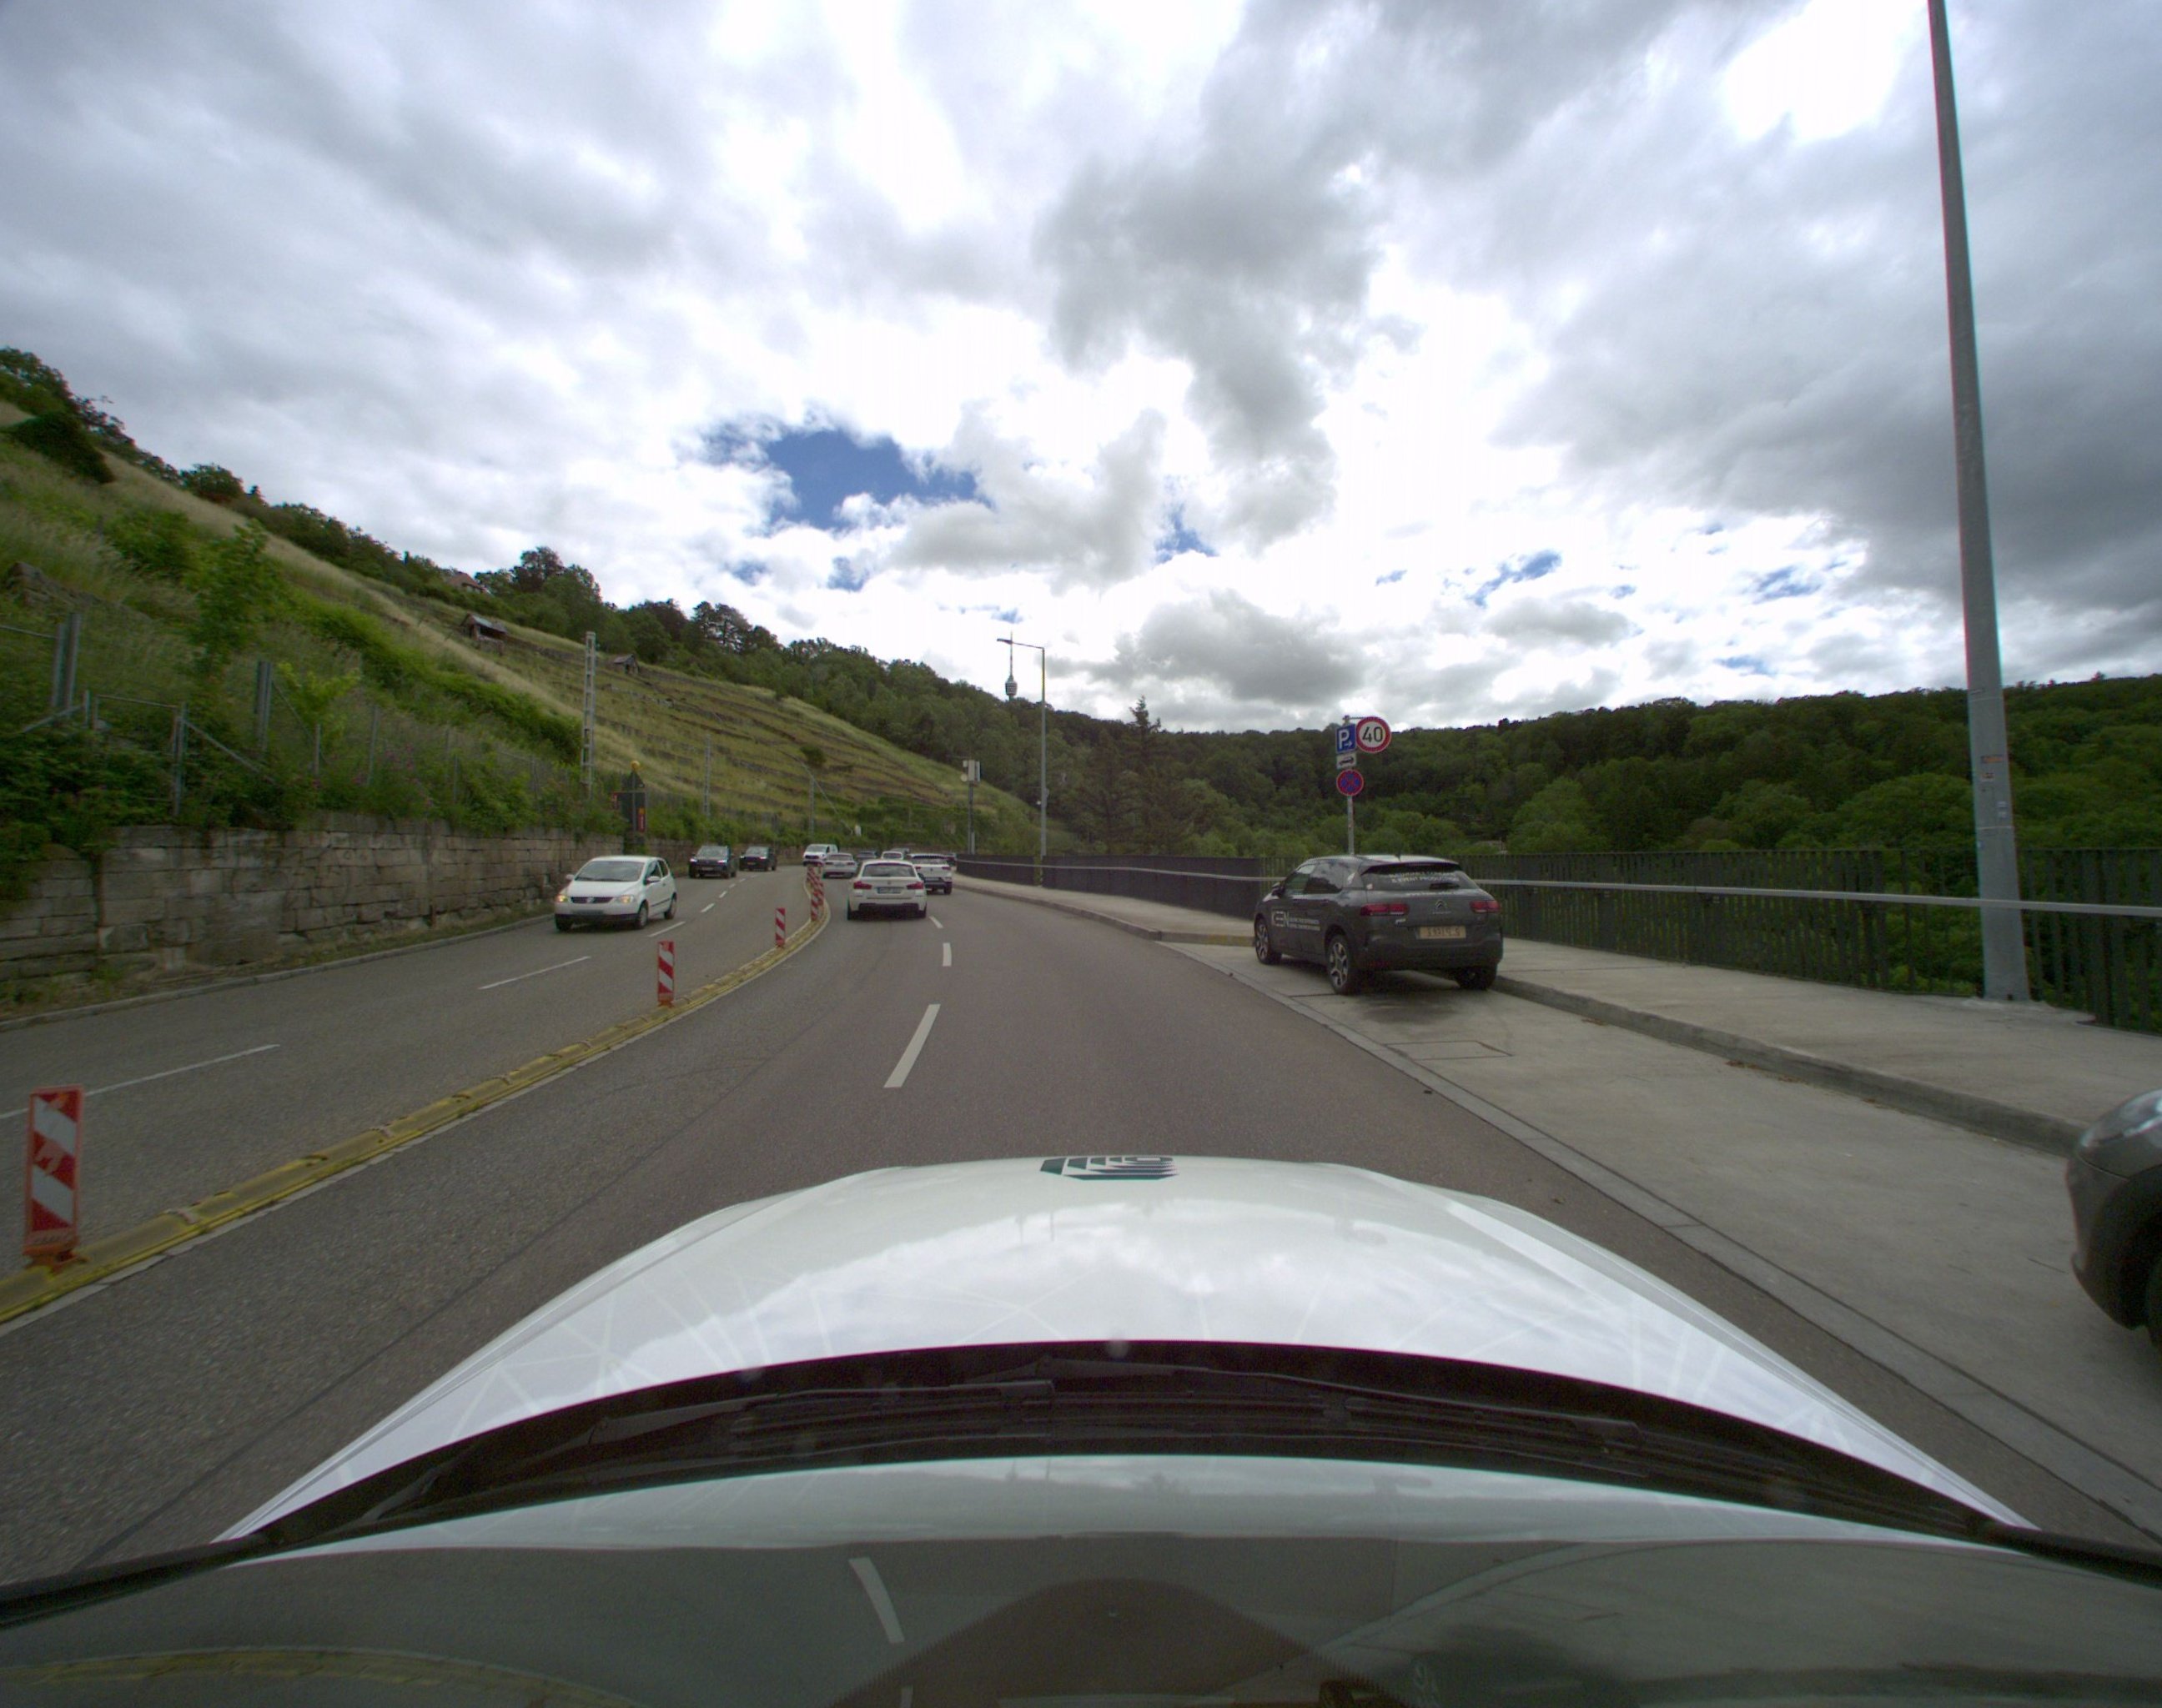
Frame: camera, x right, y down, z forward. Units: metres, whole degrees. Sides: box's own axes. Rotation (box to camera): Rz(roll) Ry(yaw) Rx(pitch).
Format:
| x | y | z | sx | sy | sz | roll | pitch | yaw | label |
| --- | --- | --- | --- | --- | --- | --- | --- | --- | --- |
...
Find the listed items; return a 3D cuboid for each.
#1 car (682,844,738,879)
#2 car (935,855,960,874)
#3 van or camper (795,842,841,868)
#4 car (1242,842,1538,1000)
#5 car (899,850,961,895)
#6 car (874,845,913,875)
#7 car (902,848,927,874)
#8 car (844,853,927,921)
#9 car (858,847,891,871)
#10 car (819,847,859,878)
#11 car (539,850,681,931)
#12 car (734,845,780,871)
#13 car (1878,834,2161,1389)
| x | y | z | sx | sy | sz | roll | pitch | yaw | label |
| --- | --- | --- | --- | --- | --- | --- | --- | --- | --- |
| -19.071 | 0.390 | 42.051 | 1.846 | 1.726 | 4.441 | 0 | 0 | -14 | car |
| -14.285 | 1.150 | 87.447 | 1.862 | 1.762 | 4.001 | -1 | -4 | 3 | car |
| -23.331 | 0.066 | 72.475 | 2.139 | 2.016 | 4.968 | -2 | 2 | 2 | van or camper |
| 3.476 | 0.673 | 10.095 | 1.871 | 1.543 | 4.083 | 0 | -1 | -5 | car |
| -5.988 | 0.681 | 32.005 | 1.833 | 1.605 | 3.974 | -1 | 0 | -19 | car |
| -12.332 | 0.422 | 53.409 | 1.999 | 1.718 | 4.087 | -3 | -2 | -18 | car |
| -14.298 | 0.635 | 70.060 | 1.994 | 2.014 | 3.985 | -2 | -1 | -11 | car |
| -5.001 | 0.739 | 20.970 | 1.830 | 1.459 | 4.466 | -1 | 1 | -13 | car |
| -16.705 | 0.445 | 66.017 | 1.992 | 1.648 | 3.988 | -4 | -2 | -8 | car |
| -13.943 | 0.509 | 47.094 | 1.997 | 1.503 | 4.642 | -3 | -2 | -15 | car |
| -10.376 | 0.748 | 18.272 | 1.704 | 1.549 | 3.980 | -2 | 0 | -15 | car |
| -21.723 | 0.265 | 54.810 | 1.863 | 1.624 | 4.336 | 1 | 0 | -8 | car |
| 3.673 | 0.637 | 0.908 | 1.710 | 1.431 | 3.847 | -1 | 0 | -2 | car |
